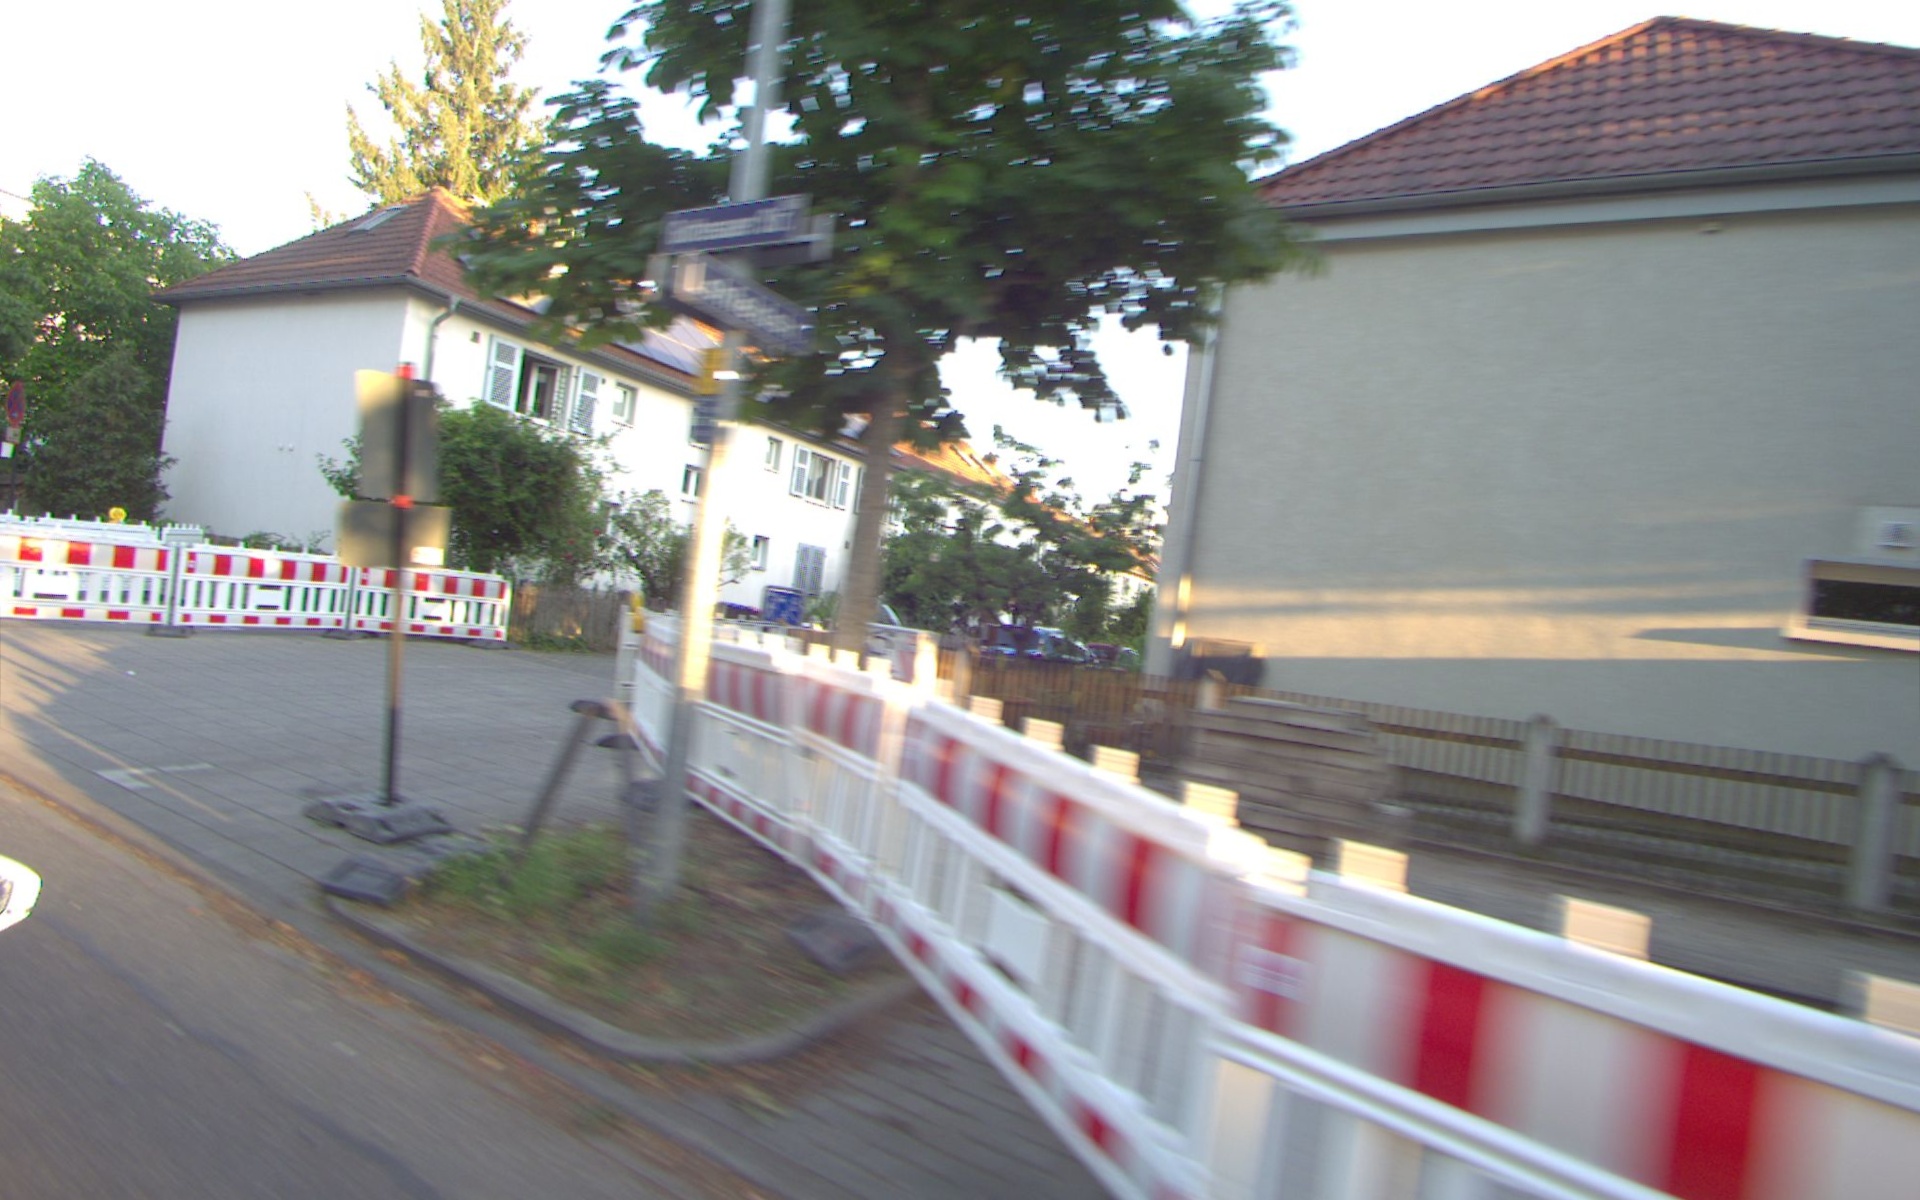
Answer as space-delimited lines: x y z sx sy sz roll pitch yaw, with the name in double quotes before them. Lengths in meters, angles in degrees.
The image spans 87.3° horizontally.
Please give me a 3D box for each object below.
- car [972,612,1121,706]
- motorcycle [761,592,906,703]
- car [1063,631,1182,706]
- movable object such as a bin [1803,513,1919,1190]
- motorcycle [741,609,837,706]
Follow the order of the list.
"car" 1.975 1.344 22.059 1.691 1.656 3.630 8 -2 31
"motorcycle" -1.988 0.748 15.802 2.048 1.433 0.596 9 -1 -12
"car" 4.282 1.822 26.127 1.772 1.569 3.641 8 -2 29
"movable object such as a bin" 5.612 1.079 2.141 5.105 2.430 2.637 8 -1 26
"motorcycle" -2.415 0.766 14.002 0.575 1.118 1.832 9 -1 -30
